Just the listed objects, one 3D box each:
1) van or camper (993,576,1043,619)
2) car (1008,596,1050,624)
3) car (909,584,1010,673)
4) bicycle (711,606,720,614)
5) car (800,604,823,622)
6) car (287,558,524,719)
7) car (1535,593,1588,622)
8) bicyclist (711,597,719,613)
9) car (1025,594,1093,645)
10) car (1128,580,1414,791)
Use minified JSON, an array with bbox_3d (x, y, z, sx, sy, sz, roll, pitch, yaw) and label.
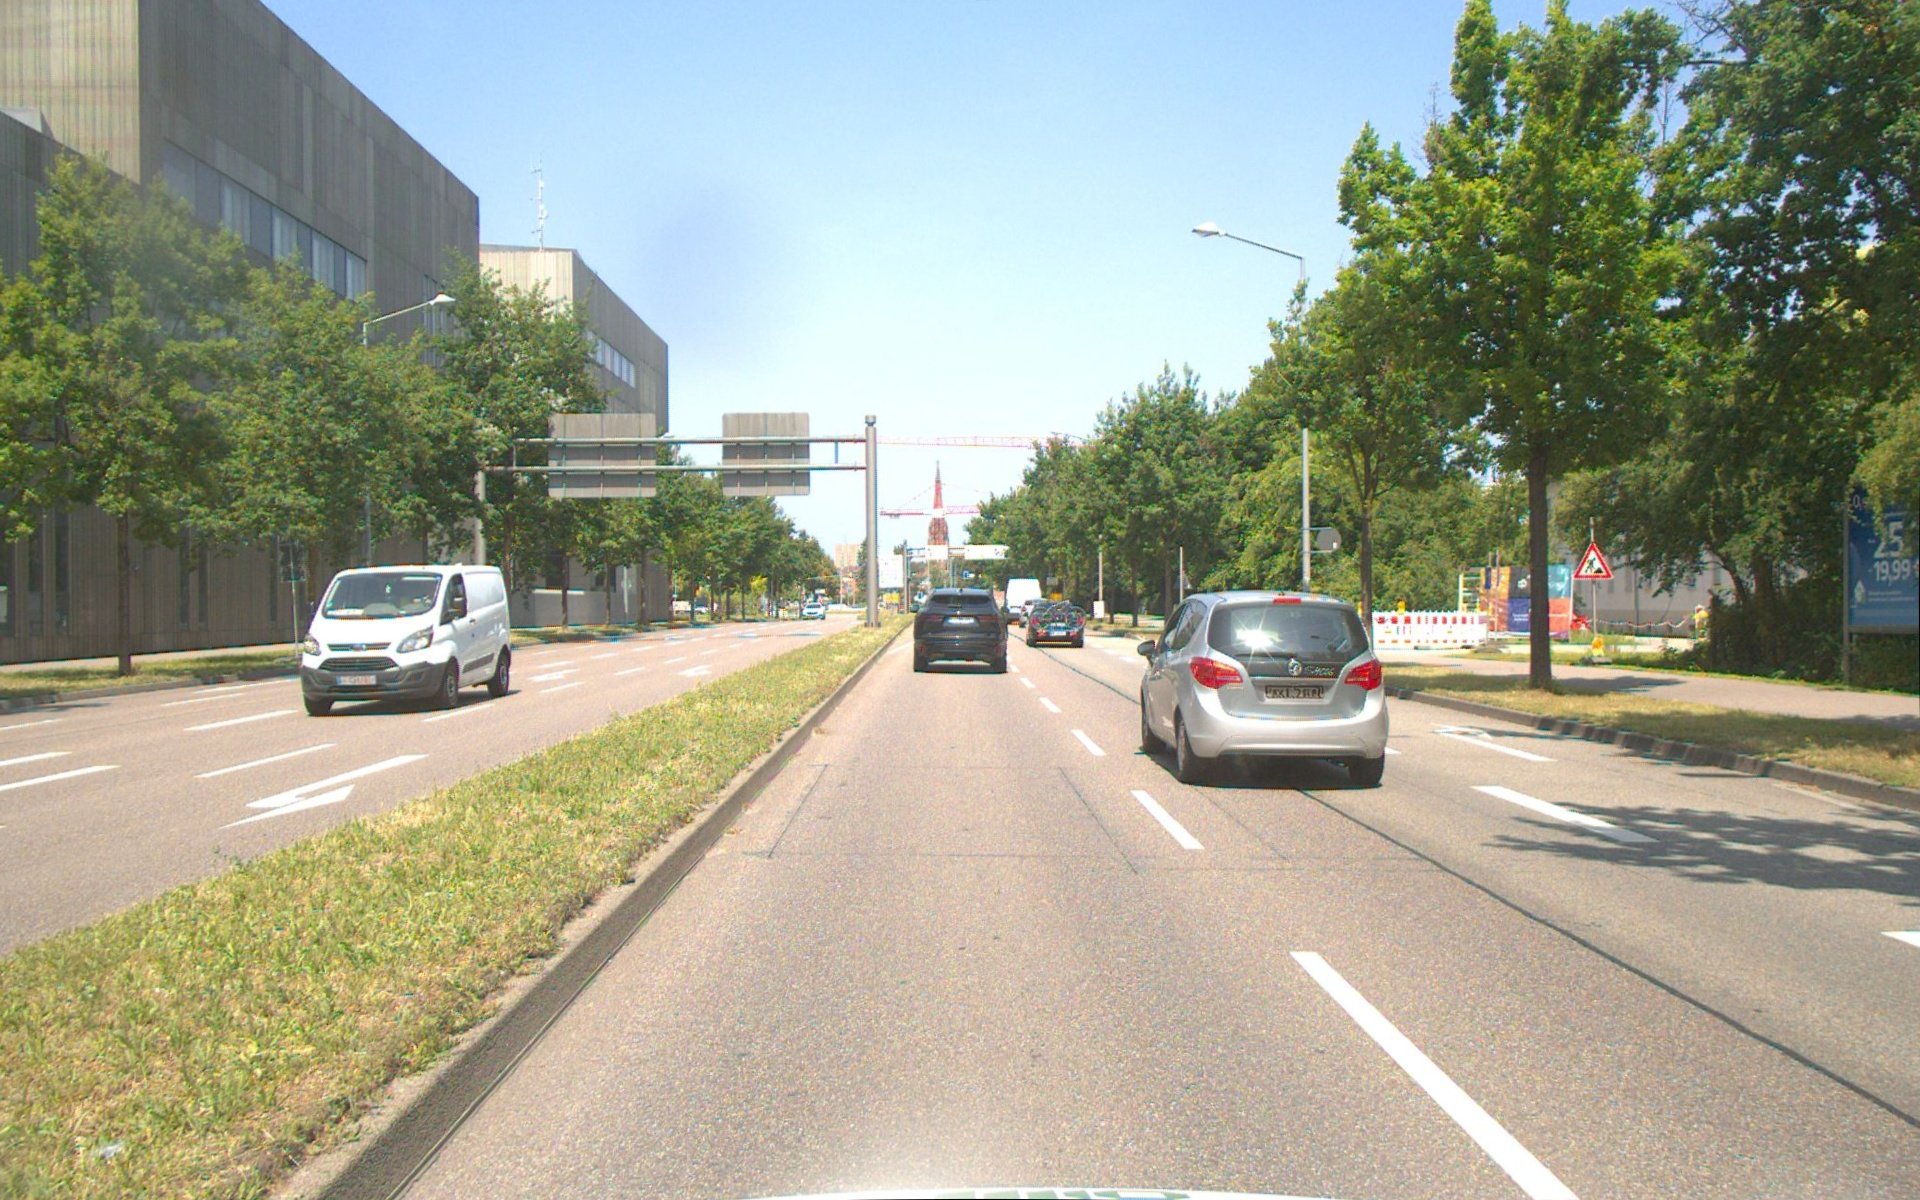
[{"bbox_3d":[3.289,-0.115,94.481,2.443,2.331,4.918,-1,0,-3],"label":"van or camper"},{"bbox_3d":[3.537,0.508,84.976,1.622,1.380,4.456,-1,0,-4],"label":"car"},{"bbox_3d":[0.016,0.552,34.186,1.957,1.719,4.034,1,0,1],"label":"car"},{"bbox_3d":[-22.895,0.967,154.988,0.471,0.728,1.851,-1,-1,2],"label":"bicycle"},{"bbox_3d":[-13.003,1.115,144.566,1.774,1.452,4.356,-2,0,-3],"label":"car"},{"bbox_3d":[-7.859,0.499,23.960,1.871,2.028,4.896,-2,0,-2],"label":"car"},{"bbox_3d":[25.553,0.303,70.360,1.350,1.208,3.305,-1,0,6],"label":"car"},{"bbox_3d":[-22.889,0.445,154.794,0.610,1.515,0.757,-1,-1,2],"label":"bicyclist"},{"bbox_3d":[3.097,0.608,52.755,1.972,1.544,4.461,-1,0,1],"label":"car"},{"bbox_3d":[2.654,0.668,14.995,1.756,1.640,3.889,-1,0,-2],"label":"car"}]
